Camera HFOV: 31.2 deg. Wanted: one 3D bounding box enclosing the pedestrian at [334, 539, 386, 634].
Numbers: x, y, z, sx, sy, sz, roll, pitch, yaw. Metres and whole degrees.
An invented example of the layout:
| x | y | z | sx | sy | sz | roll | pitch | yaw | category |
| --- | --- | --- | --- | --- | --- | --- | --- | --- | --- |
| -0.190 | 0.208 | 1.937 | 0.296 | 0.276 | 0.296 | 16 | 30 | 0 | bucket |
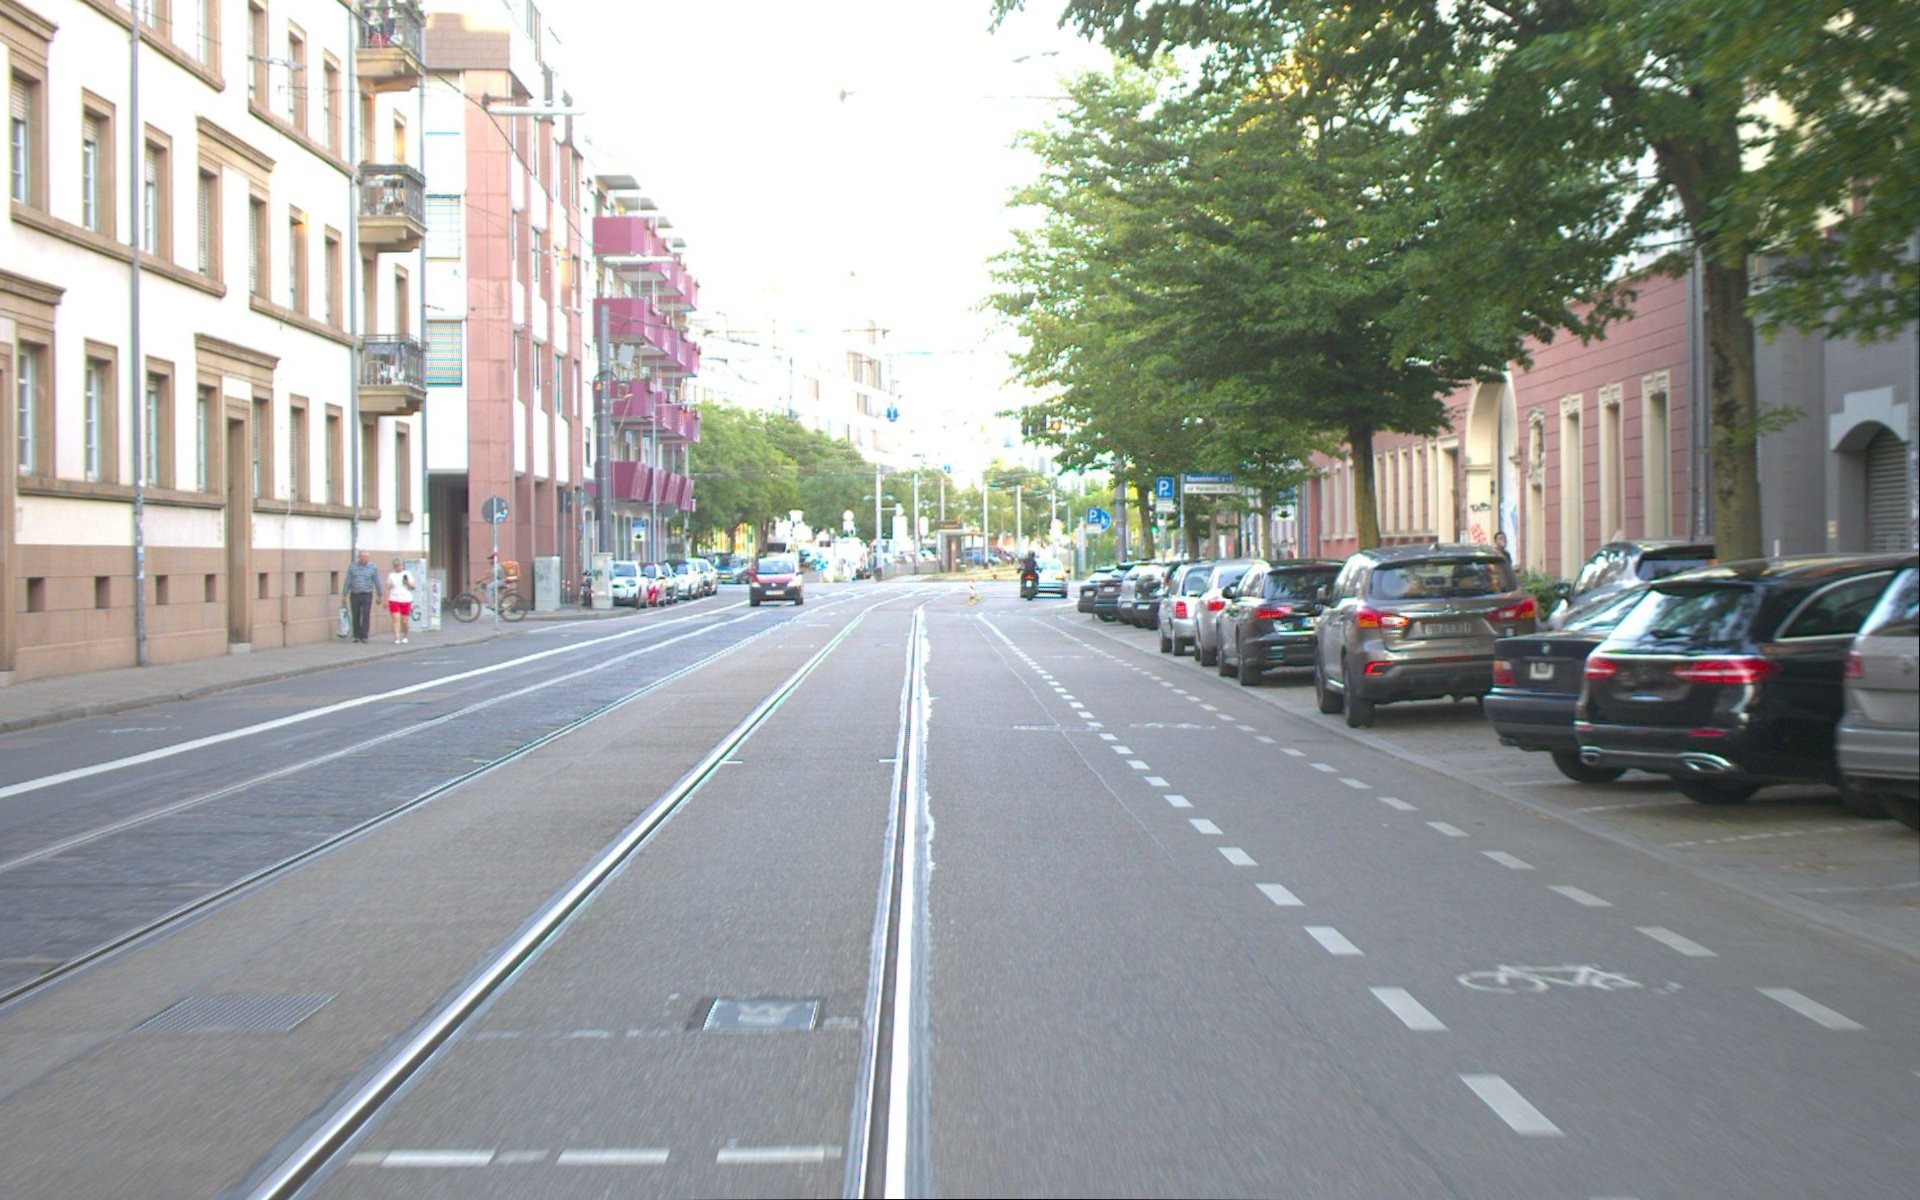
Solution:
| x | y | z | sx | sy | sz | roll | pitch | yaw | category |
| --- | --- | --- | --- | --- | --- | --- | --- | --- | --- |
| -10.792 | -0.251 | 61.875 | 0.795 | 1.696 | 0.981 | 0 | 1 | -3 | pedestrian |

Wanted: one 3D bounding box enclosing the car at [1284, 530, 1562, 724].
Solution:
| x | y | z | sx | sy | sz | roll | pitch | yaw | category |
| --- | --- | --- | --- | --- | --- | --- | --- | --- | --- |
| 4.263 | 0.205 | 32.287 | 1.879 | 1.612 | 4.262 | -3 | 1 | -1 | car |

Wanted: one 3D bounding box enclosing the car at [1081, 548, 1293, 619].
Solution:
| x | y | z | sx | sy | sz | roll | pitch | yaw | category |
| --- | --- | --- | --- | --- | --- | --- | --- | --- | --- |
| 5.278 | -0.397 | 79.911 | 4.443 | 1.511 | 2.064 | -2 | 1 | -23 | car |

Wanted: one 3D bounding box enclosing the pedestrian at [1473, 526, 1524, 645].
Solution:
| x | y | z | sx | sy | sz | roll | pitch | yaw | category |
| --- | --- | --- | --- | --- | --- | --- | --- | --- | --- |
| 8.268 | -0.227 | 52.799 | 0.680 | 1.810 | 0.600 | 0 | 1 | 0 | pedestrian |

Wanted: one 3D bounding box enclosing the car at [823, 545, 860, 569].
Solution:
| x | y | z | sx | sy | sz | roll | pitch | yaw | category |
| --- | --- | --- | --- | --- | --- | --- | --- | --- | --- |
| -7.289 | -2.636 | 211.491 | 1.683 | 1.434 | 4.125 | 0 | 1 | 7 | car |

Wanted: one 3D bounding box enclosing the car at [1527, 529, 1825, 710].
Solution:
| x | y | z | sx | sy | sz | roll | pitch | yaw | category |
| --- | --- | --- | --- | --- | --- | --- | --- | --- | --- |
| 6.661 | 0.139 | 32.394 | 1.879 | 1.578 | 4.021 | -1 | 1 | -1 | car |

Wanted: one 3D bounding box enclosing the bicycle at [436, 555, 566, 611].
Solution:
| x | y | z | sx | sy | sz | roll | pitch | yaw | category |
| --- | --- | --- | --- | --- | --- | --- | --- | --- | --- |
| -11.447 | -0.425 | 85.680 | 3.170 | 1.349 | 0.958 | -1 | 1 | -9 | bicycle |

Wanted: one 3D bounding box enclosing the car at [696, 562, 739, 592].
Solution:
| x | y | z | sx | sy | sz | roll | pitch | yaw | category |
| --- | --- | --- | --- | --- | --- | --- | --- | --- | --- |
| -14.257 | -1.345 | 202.346 | 1.683 | 1.694 | 4.238 | 0 | 1 | 8 | car |

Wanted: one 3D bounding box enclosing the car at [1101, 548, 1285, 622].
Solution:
| x | y | z | sx | sy | sz | roll | pitch | yaw | category |
| --- | --- | --- | --- | --- | --- | --- | --- | --- | --- |
| 5.076 | -0.332 | 74.924 | 3.554 | 1.511 | 1.744 | -2 | 1 | -25 | car |

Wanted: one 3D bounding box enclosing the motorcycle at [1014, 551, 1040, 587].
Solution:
| x | y | z | sx | sy | sz | roll | pitch | yaw | category |
| --- | --- | --- | --- | --- | --- | --- | --- | --- | --- |
| 2.377 | -1.090 | 121.008 | 0.828 | 1.236 | 2.491 | 0 | 1 | 3 | motorcycle |

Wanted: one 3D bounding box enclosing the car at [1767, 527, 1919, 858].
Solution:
| x | y | z | sx | sy | sz | roll | pitch | yaw | category |
| --- | --- | --- | --- | --- | --- | --- | --- | --- | --- |
| 6.403 | 0.395 | 17.932 | 3.986 | 1.588 | 1.720 | -2 | 2 | -21 | car |

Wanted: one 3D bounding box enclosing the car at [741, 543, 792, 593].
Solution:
| x | y | z | sx | sy | sz | roll | pitch | yaw | category |
| --- | --- | --- | --- | --- | --- | --- | --- | --- | --- |
| -6.268 | -1.052 | 111.460 | 1.559 | 1.553 | 3.755 | -2 | 1 | -3 | car |

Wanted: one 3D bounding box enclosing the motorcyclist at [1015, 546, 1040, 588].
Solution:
| x | y | z | sx | sy | sz | roll | pitch | yaw | category |
| --- | --- | --- | --- | --- | --- | --- | --- | --- | --- |
| 2.386 | -1.161 | 121.262 | 0.828 | 1.468 | 1.207 | 0 | 1 | 3 | motorcyclist |

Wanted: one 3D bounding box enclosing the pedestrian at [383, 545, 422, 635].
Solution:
| x | y | z | sx | sy | sz | roll | pitch | yaw | category |
| --- | --- | --- | --- | --- | --- | --- | --- | --- | --- |
| -10.055 | -0.190 | 61.971 | 0.590 | 1.604 | 0.811 | 0 | 1 | -3 | pedestrian |

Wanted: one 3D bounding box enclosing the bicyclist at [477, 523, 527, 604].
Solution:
| x | y | z | sx | sy | sz | roll | pitch | yaw | category |
| --- | --- | --- | --- | --- | --- | --- | --- | --- | --- |
| -11.423 | -0.923 | 85.692 | 1.214 | 2.007 | 0.947 | 0 | 1 | -9 | bicyclist |

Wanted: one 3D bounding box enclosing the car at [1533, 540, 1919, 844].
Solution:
| x | y | z | sx | sy | sz | roll | pitch | yaw | category |
| --- | --- | --- | --- | --- | --- | --- | --- | --- | --- |
| 5.513 | 0.453 | 19.900 | 3.960 | 1.548 | 1.720 | -2 | 2 | -18 | car |

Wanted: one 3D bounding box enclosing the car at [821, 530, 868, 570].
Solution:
| x | y | z | sx | sy | sz | roll | pitch | yaw | category |
| --- | --- | --- | --- | --- | --- | --- | --- | --- | --- |
| -7.265 | -3.187 | 217.213 | 2.461 | 2.474 | 5.808 | 0 | 1 | 3 | car |

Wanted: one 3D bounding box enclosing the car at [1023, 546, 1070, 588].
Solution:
| x | y | z | sx | sy | sz | roll | pitch | yaw | category |
| --- | --- | --- | --- | --- | --- | --- | --- | --- | --- |
| 3.235 | -1.261 | 129.632 | 1.717 | 1.550 | 4.204 | 0 | 1 | 1 | car |

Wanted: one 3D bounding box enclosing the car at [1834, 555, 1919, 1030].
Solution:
| x | y | z | sx | sy | sz | roll | pitch | yaw | category |
| --- | --- | --- | --- | --- | --- | --- | --- | --- | --- |
| 5.146 | 0.550 | 10.648 | 4.376 | 1.459 | 1.720 | -1 | 1 | -4 | car |

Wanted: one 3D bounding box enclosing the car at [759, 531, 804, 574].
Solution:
| x | y | z | sx | sy | sz | roll | pitch | yaw | category |
| --- | --- | --- | --- | --- | --- | --- | --- | --- | --- |
| -13.156 | -3.519 | 253.930 | 2.202 | 3.141 | 6.141 | 0 | 1 | 7 | car |

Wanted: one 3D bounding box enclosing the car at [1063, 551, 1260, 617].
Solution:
| x | y | z | sx | sy | sz | roll | pitch | yaw | category |
| --- | --- | --- | --- | --- | --- | --- | --- | --- | --- |
| 5.039 | -0.420 | 85.875 | 4.604 | 1.452 | 1.711 | -3 | 1 | -25 | car |

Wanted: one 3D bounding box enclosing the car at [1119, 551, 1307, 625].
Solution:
| x | y | z | sx | sy | sz | roll | pitch | yaw | category |
| --- | --- | --- | --- | --- | --- | --- | --- | --- | --- |
| 5.303 | -0.261 | 72.058 | 3.554 | 1.424 | 1.669 | -2 | 1 | -25 | car |

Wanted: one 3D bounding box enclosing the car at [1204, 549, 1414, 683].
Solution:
| x | y | z | sx | sy | sz | roll | pitch | yaw | category |
| --- | --- | --- | --- | --- | --- | --- | --- | --- | --- |
| 4.158 | 0.149 | 41.721 | 1.993 | 1.484 | 5.036 | -1 | 1 | 0 | car |

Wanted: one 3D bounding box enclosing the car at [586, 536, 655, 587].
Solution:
| x | y | z | sx | sy | sz | roll | pitch | yaw | category |
| --- | --- | --- | --- | --- | --- | --- | --- | --- | --- |
| -10.693 | -1.211 | 108.556 | 1.717 | 1.550 | 4.204 | 1 | 1 | 0 | car |

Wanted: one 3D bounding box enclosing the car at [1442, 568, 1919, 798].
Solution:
| x | y | z | sx | sy | sz | roll | pitch | yaw | category |
| --- | --- | --- | --- | --- | --- | --- | --- | --- | --- |
| 5.439 | 0.495 | 22.837 | 4.248 | 1.383 | 1.621 | -1 | 1 | -26 | car |

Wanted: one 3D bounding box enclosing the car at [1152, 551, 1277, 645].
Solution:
| x | y | z | sx | sy | sz | roll | pitch | yaw | category |
| --- | --- | --- | --- | --- | --- | --- | --- | --- | --- |
| 4.001 | -0.051 | 54.500 | 1.619 | 1.376 | 3.776 | -2 | 1 | -1 | car |

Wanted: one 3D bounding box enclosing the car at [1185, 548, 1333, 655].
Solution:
| x | y | z | sx | sy | sz | roll | pitch | yaw | category |
| --- | --- | --- | --- | --- | --- | --- | --- | --- | --- |
| 4.211 | -0.010 | 49.005 | 1.780 | 1.376 | 4.691 | -2 | 1 | 2 | car |

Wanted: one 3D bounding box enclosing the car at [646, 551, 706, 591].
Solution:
| x | y | z | sx | sy | sz | roll | pitch | yaw | category |
| --- | --- | --- | --- | --- | --- | --- | --- | --- | --- |
| -10.646 | -1.100 | 129.123 | 1.691 | 1.409 | 4.677 | 2 | 1 | 2 | car |
